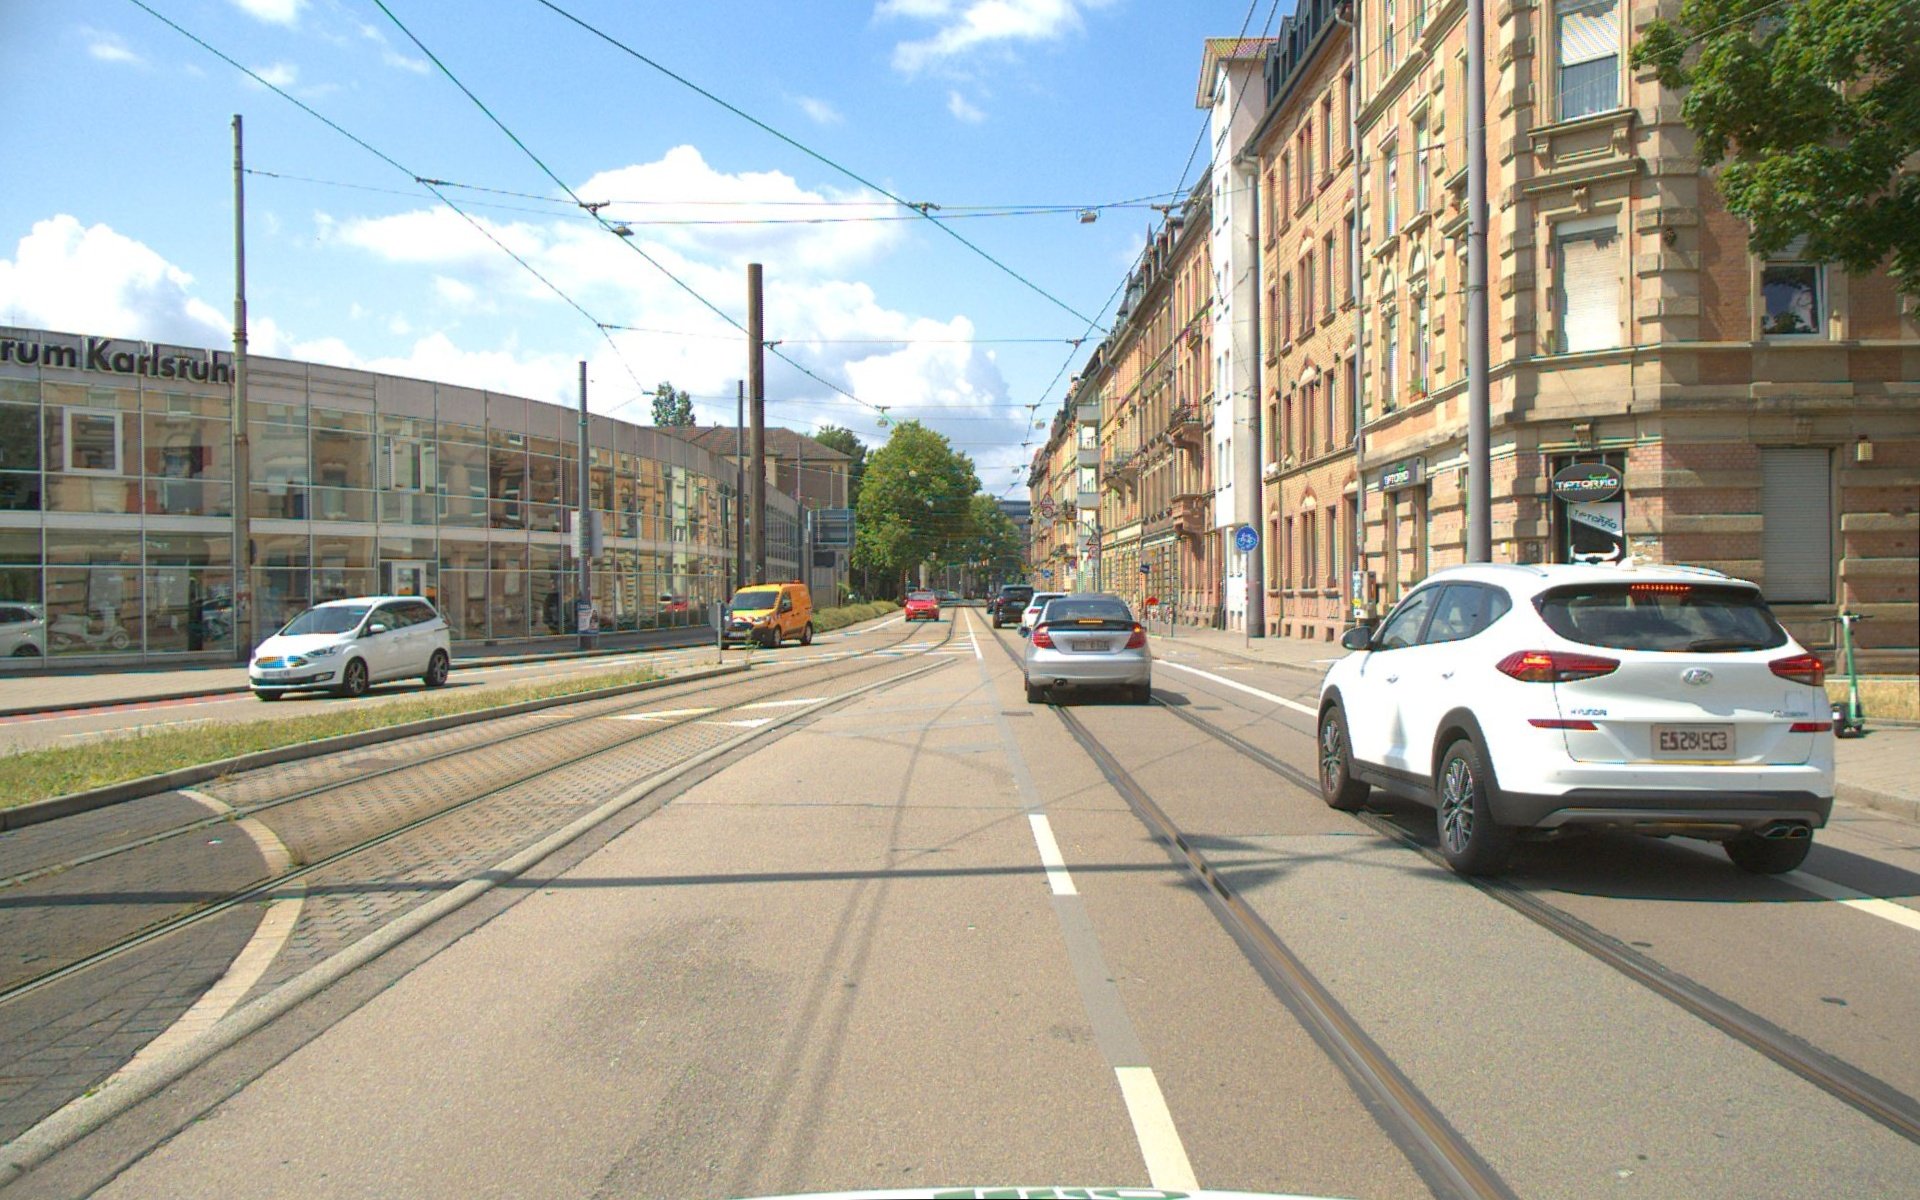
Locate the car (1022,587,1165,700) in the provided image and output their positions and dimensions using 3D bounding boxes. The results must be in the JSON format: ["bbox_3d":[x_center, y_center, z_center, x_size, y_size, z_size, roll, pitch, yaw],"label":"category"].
[{"bbox_3d":[1.807,0.565,23.529,1.777,1.445,4.188,-1,0,1],"label":"car"}]

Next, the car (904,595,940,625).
[{"bbox_3d":[-1.894,0.481,83.827,1.667,1.453,3.902,-1,0,1],"label":"car"}]

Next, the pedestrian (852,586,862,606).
[{"bbox_3d":[-10.132,-0.396,162.156,0.862,1.898,1.081,-2,0,0],"label":"pedestrian"}]

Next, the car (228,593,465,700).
[{"bbox_3d":[-10.640,0.750,29.068,1.729,1.632,4.497,-2,0,12],"label":"car"}]

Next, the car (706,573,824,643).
[{"bbox_3d":[-5.570,0.191,47.869,1.870,1.898,4.371,-2,0,15],"label":"car"}]

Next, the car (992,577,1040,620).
[{"bbox_3d":[2.288,-0.063,68.481,1.777,1.691,4.085,-1,0,0],"label":"car"}]

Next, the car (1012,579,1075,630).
[{"bbox_3d":[2.626,0.113,52.641,1.777,1.550,3.955,-1,1,0],"label":"car"}]

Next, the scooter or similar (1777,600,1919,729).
[{"bbox_3d":[8.715,0.611,16.212,0.927,1.200,1.087,-2,0,6],"label":"scooter or similar"}]

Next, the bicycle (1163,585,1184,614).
[{"bbox_3d":[9.013,-0.045,69.879,0.574,1.199,2.205,-1,0,1],"label":"bicycle"}]

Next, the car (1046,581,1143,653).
[{"bbox_3d":[3.060,0.356,38.401,1.778,1.550,4.084,-1,1,-2],"label":"car"}]

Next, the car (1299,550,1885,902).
[{"bbox_3d":[3.487,0.580,10.065,1.815,1.662,4.179,-1,1,-2],"label":"car"}]

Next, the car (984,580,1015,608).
[{"bbox_3d":[2.700,-0.456,114.976,1.953,1.892,3.999,-1,0,-2],"label":"car"}]
